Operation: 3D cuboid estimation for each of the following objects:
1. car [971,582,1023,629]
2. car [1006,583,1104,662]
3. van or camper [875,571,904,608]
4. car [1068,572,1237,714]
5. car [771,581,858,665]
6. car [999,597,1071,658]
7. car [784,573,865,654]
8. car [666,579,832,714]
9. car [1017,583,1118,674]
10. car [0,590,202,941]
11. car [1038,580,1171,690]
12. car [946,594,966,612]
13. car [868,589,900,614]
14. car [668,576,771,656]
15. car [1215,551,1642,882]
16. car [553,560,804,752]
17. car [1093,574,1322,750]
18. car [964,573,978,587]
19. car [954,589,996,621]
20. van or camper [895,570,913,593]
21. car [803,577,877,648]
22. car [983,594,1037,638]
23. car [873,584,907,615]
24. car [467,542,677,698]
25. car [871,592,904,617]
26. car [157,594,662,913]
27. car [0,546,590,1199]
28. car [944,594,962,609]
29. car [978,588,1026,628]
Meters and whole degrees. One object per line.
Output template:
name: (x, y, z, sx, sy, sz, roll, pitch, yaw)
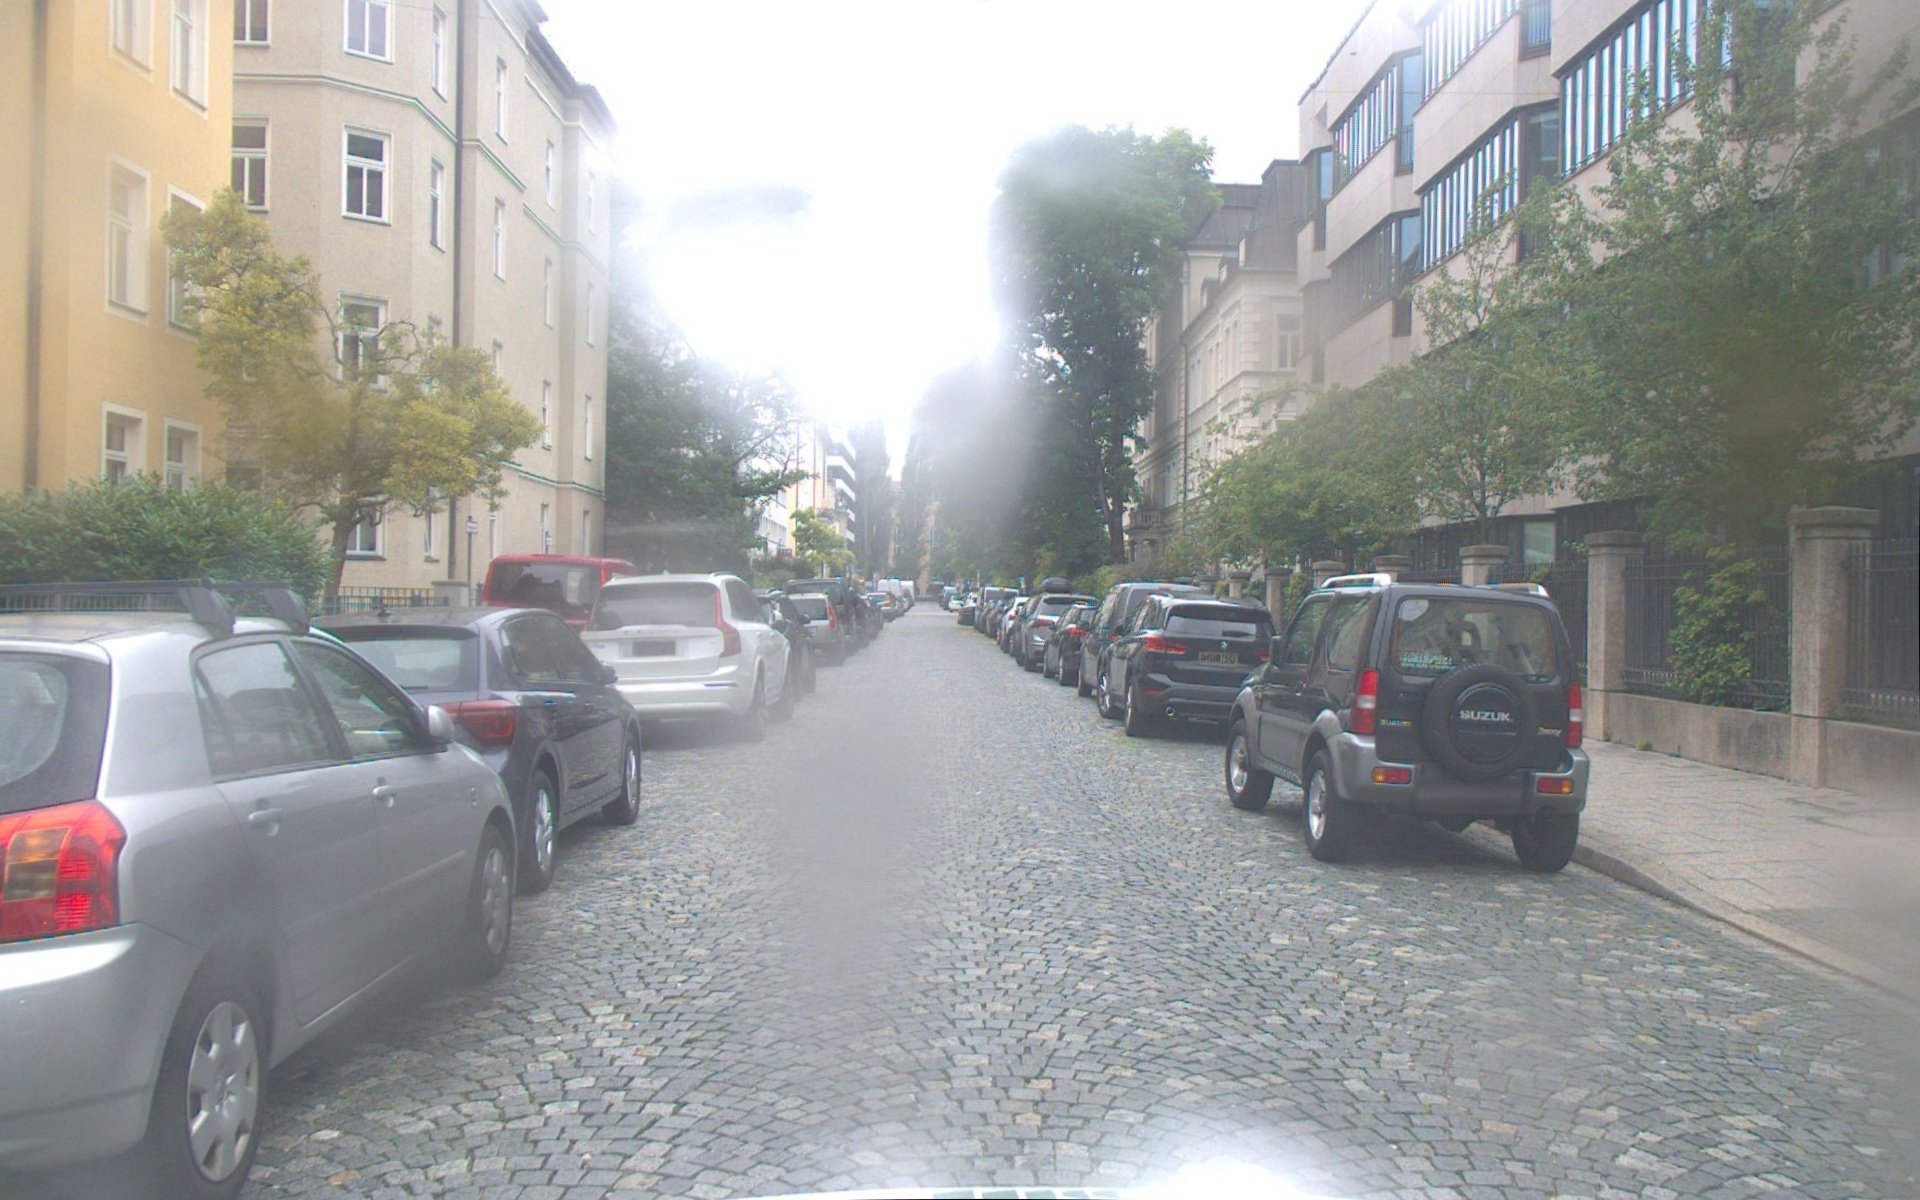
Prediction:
car: (1.636, 0.241, 74.755, 1.836, 1.962, 5.161, 3, 0, -3)
car: (2.341, 0.533, 42.049, 1.836, 1.765, 4.744, 4, 0, -3)
van or camper: (-5.417, -0.792, 127.313, 1.953, 2.698, 3.999, -2, 0, -1)
car: (2.822, 0.588, 25.214, 1.753, 1.827, 4.507, 4, 0, -3)
car: (-3.324, 0.491, 38.360, 1.828, 1.765, 4.400, -2, 0, -4)
car: (2.083, 0.731, 47.177, 1.835, 1.516, 4.617, 3, 1, 1)
car: (-3.486, 0.329, 43.291, 1.835, 1.950, 4.825, -2, 0, -2)
car: (-3.112, 0.638, 25.351, 1.878, 1.765, 4.755, -3, 0, -1)
car: (2.270, 0.569, 36.124, 1.835, 1.765, 4.891, 3, 0, 0)
car: (-5.097, 0.726, 6.939, 1.680, 1.523, 4.720, 3, 0, -1)
car: (2.632, 0.605, 31.153, 1.836, 1.765, 4.657, 4, 0, -2)
car: (-0.403, 0.238, 148.357, 1.753, 1.547, 3.999, 1, 0, -1)
car: (-4.647, 0.085, 100.575, 1.836, 1.476, 4.205, -1, 0, -3)
car: (-5.859, 0.364, 40.821, 1.906, 1.765, 4.655, 3, 0, -2)
car: (2.953, 0.651, 11.293, 1.586, 1.781, 3.885, 3, 0, -2)
car: (-3.002, 0.541, 18.788, 1.965, 1.840, 5.174, -1, 0, 0)
car: (2.795, 0.642, 19.772, 1.823, 1.731, 4.812, 4, 0, -1)
car: (1.694, -3.015, 251.556, 1.953, 2.049, 3.999, 1, 0, -1)
car: (0.736, 0.245, 86.716, 1.836, 1.529, 4.508, 3, 0, -3)
van or camper: (-7.150, -2.328, 211.848, 2.210, 2.790, 5.097, 1, 0, -1)
car: (-3.558, 0.343, 49.798, 1.953, 1.950, 5.175, -3, 0, -2)
car: (1.855, 0.584, 62.163, 1.679, 1.498, 4.267, 3, 0, -2)
car: (-3.992, -0.037, 94.362, 1.836, 1.607, 4.253, -2, 0, -3)
car: (-5.530, 0.256, 24.286, 1.954, 1.964, 5.328, 2, 0, -2)
car: (-4.882, 0.294, 112.364, 1.834, 1.607, 4.209, 3, 0, 2)
car: (-2.932, 0.710, 9.721, 1.695, 1.443, 3.935, -2, 0, -1)
car: (-2.515, 0.699, 5.430, 1.679, 1.589, 4.389, -1, 0, -1)
car: (-0.752, 0.152, 169.037, 1.753, 1.547, 3.999, 1, 0, -1)
car: (1.720, 0.329, 69.100, 1.800, 1.516, 4.421, 3, 0, 0)
